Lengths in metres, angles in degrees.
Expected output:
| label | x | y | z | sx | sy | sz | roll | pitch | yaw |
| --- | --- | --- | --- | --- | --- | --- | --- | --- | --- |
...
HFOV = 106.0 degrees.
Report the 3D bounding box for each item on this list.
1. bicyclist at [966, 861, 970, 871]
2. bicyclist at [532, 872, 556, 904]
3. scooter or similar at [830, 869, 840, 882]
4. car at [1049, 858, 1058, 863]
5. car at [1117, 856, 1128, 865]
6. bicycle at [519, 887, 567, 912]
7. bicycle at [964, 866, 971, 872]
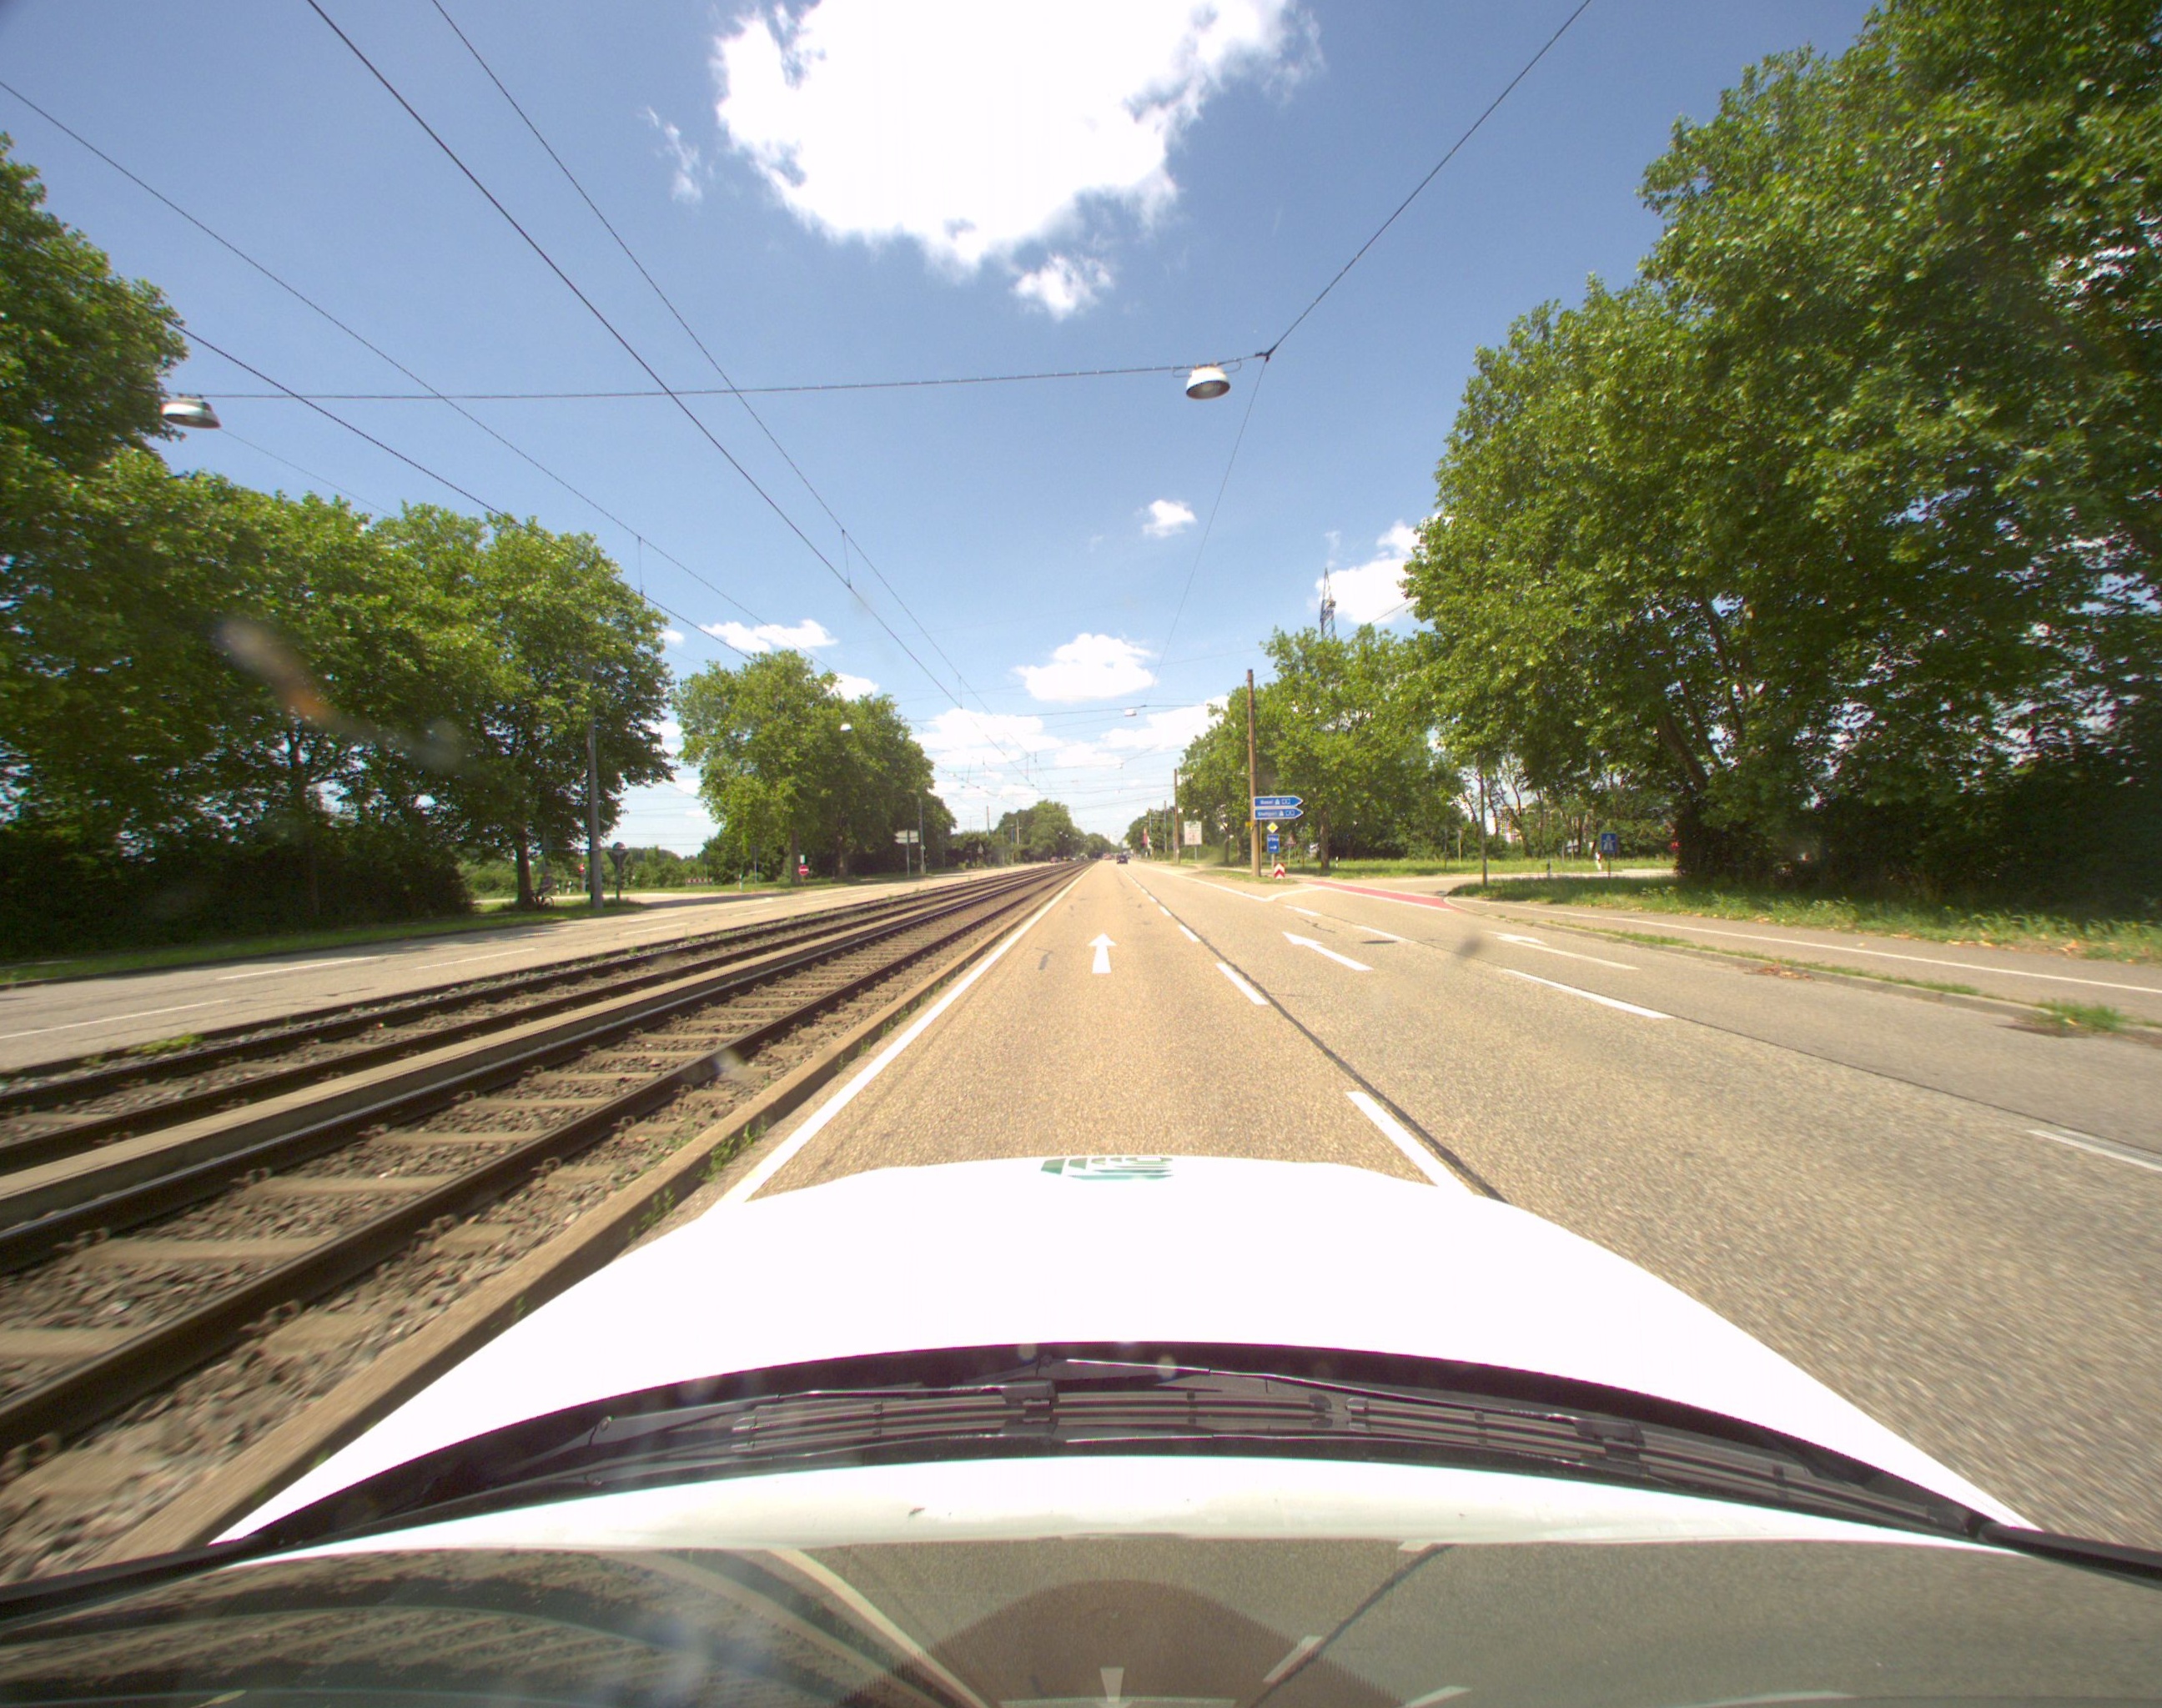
| label | x | y | z | sx | sy | sz | roll | pitch | yaw |
| --- | --- | --- | --- | --- | --- | --- | --- | --- | --- |
| bicyclist | -16.238 | 1.717 | 116.525 | 0.452 | 1.272 | 0.398 | -2 | 0 | 4 |
| bicyclist | -24.555 | 1.535 | 37.269 | 0.581 | 1.429 | 0.648 | -2 | 0 | 14 |
| scooter or similar | -20.193 | 1.738 | 66.835 | 0.297 | 1.022 | 0.999 | 1 | 0 | 9 |
| car | -7.054 | 1.685 | 211.240 | 1.867 | 1.332 | 3.920 | -3 | 0 | 2 |
| car | 6.808 | 1.029 | 133.143 | 1.581 | 1.343 | 3.272 | -2 | 1 | 0 |
| bicycle | -24.526 | 2.059 | 37.158 | 0.726 | 0.988 | 1.767 | -2 | 0 | 14 |
| bicycle | -16.211 | 2.105 | 116.430 | 0.513 | 0.857 | 1.934 | -2 | 0 | 5 |
